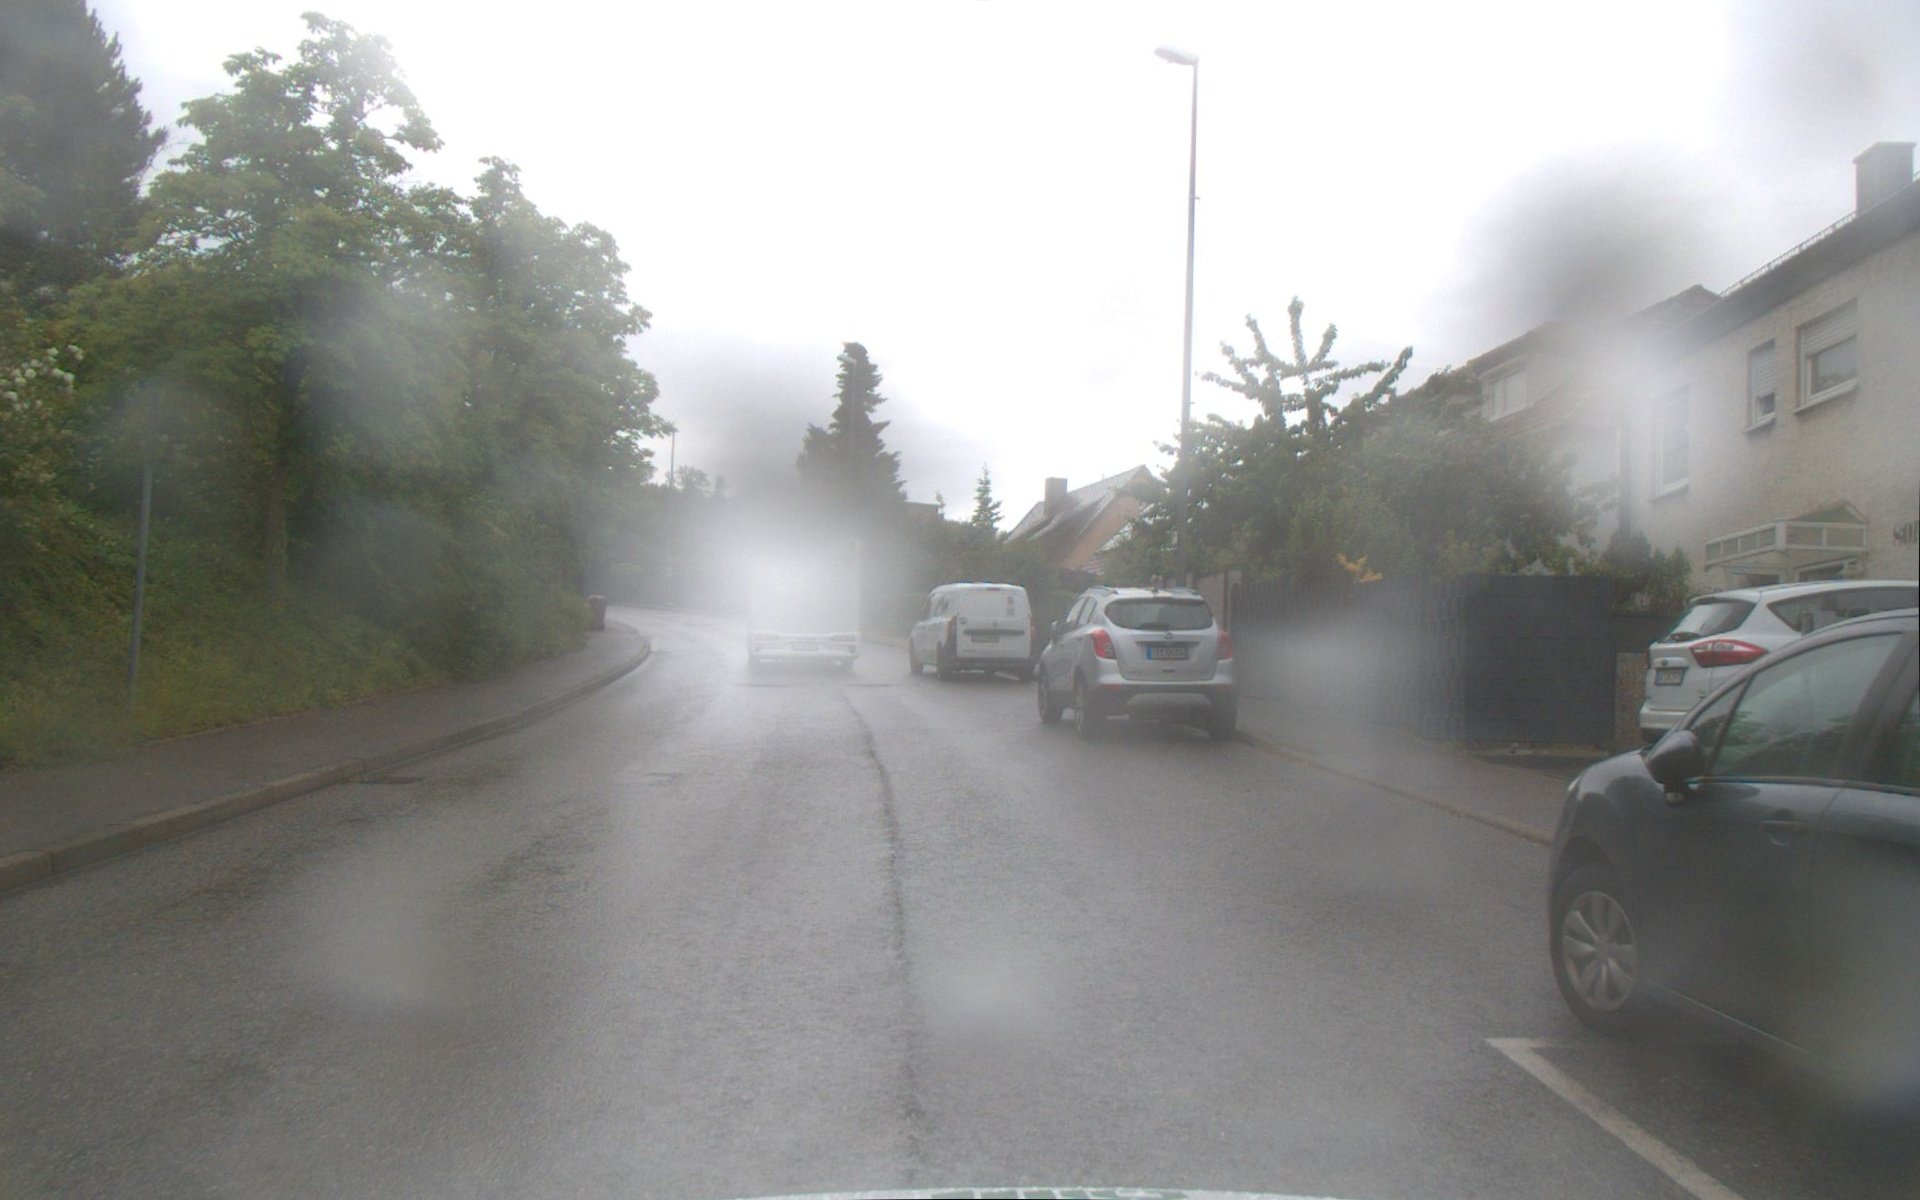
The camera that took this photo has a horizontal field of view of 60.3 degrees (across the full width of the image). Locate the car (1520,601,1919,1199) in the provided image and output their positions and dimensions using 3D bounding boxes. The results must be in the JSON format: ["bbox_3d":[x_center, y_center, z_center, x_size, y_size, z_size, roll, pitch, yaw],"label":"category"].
[{"bbox_3d":[3.151,0.755,4.757,1.626,1.493,3.761,-1,0,-3],"label":"car"}]

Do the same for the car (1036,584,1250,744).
[{"bbox_3d":[2.042,0.686,19.657,1.769,1.655,4.284,-1,0,-4],"label":"car"}]

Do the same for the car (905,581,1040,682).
[{"bbox_3d":[0.166,0.601,32.527,1.747,1.835,4.694,1,-1,-11],"label":"car"}]

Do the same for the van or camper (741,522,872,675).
[{"bbox_3d":[-3.420,0.003,35.687,2.492,2.976,5.936,1,-1,-8],"label":"van or camper"}]

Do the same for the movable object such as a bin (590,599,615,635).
[{"bbox_3d":[-11.848,0.564,54.832,0.682,1.109,0.802,4,3,-10],"label":"movable object such as a bin"}]

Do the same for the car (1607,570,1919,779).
[{"bbox_3d":[7.836,0.641,14.083,3.905,1.617,1.935,1,-2,0],"label":"car"}]
